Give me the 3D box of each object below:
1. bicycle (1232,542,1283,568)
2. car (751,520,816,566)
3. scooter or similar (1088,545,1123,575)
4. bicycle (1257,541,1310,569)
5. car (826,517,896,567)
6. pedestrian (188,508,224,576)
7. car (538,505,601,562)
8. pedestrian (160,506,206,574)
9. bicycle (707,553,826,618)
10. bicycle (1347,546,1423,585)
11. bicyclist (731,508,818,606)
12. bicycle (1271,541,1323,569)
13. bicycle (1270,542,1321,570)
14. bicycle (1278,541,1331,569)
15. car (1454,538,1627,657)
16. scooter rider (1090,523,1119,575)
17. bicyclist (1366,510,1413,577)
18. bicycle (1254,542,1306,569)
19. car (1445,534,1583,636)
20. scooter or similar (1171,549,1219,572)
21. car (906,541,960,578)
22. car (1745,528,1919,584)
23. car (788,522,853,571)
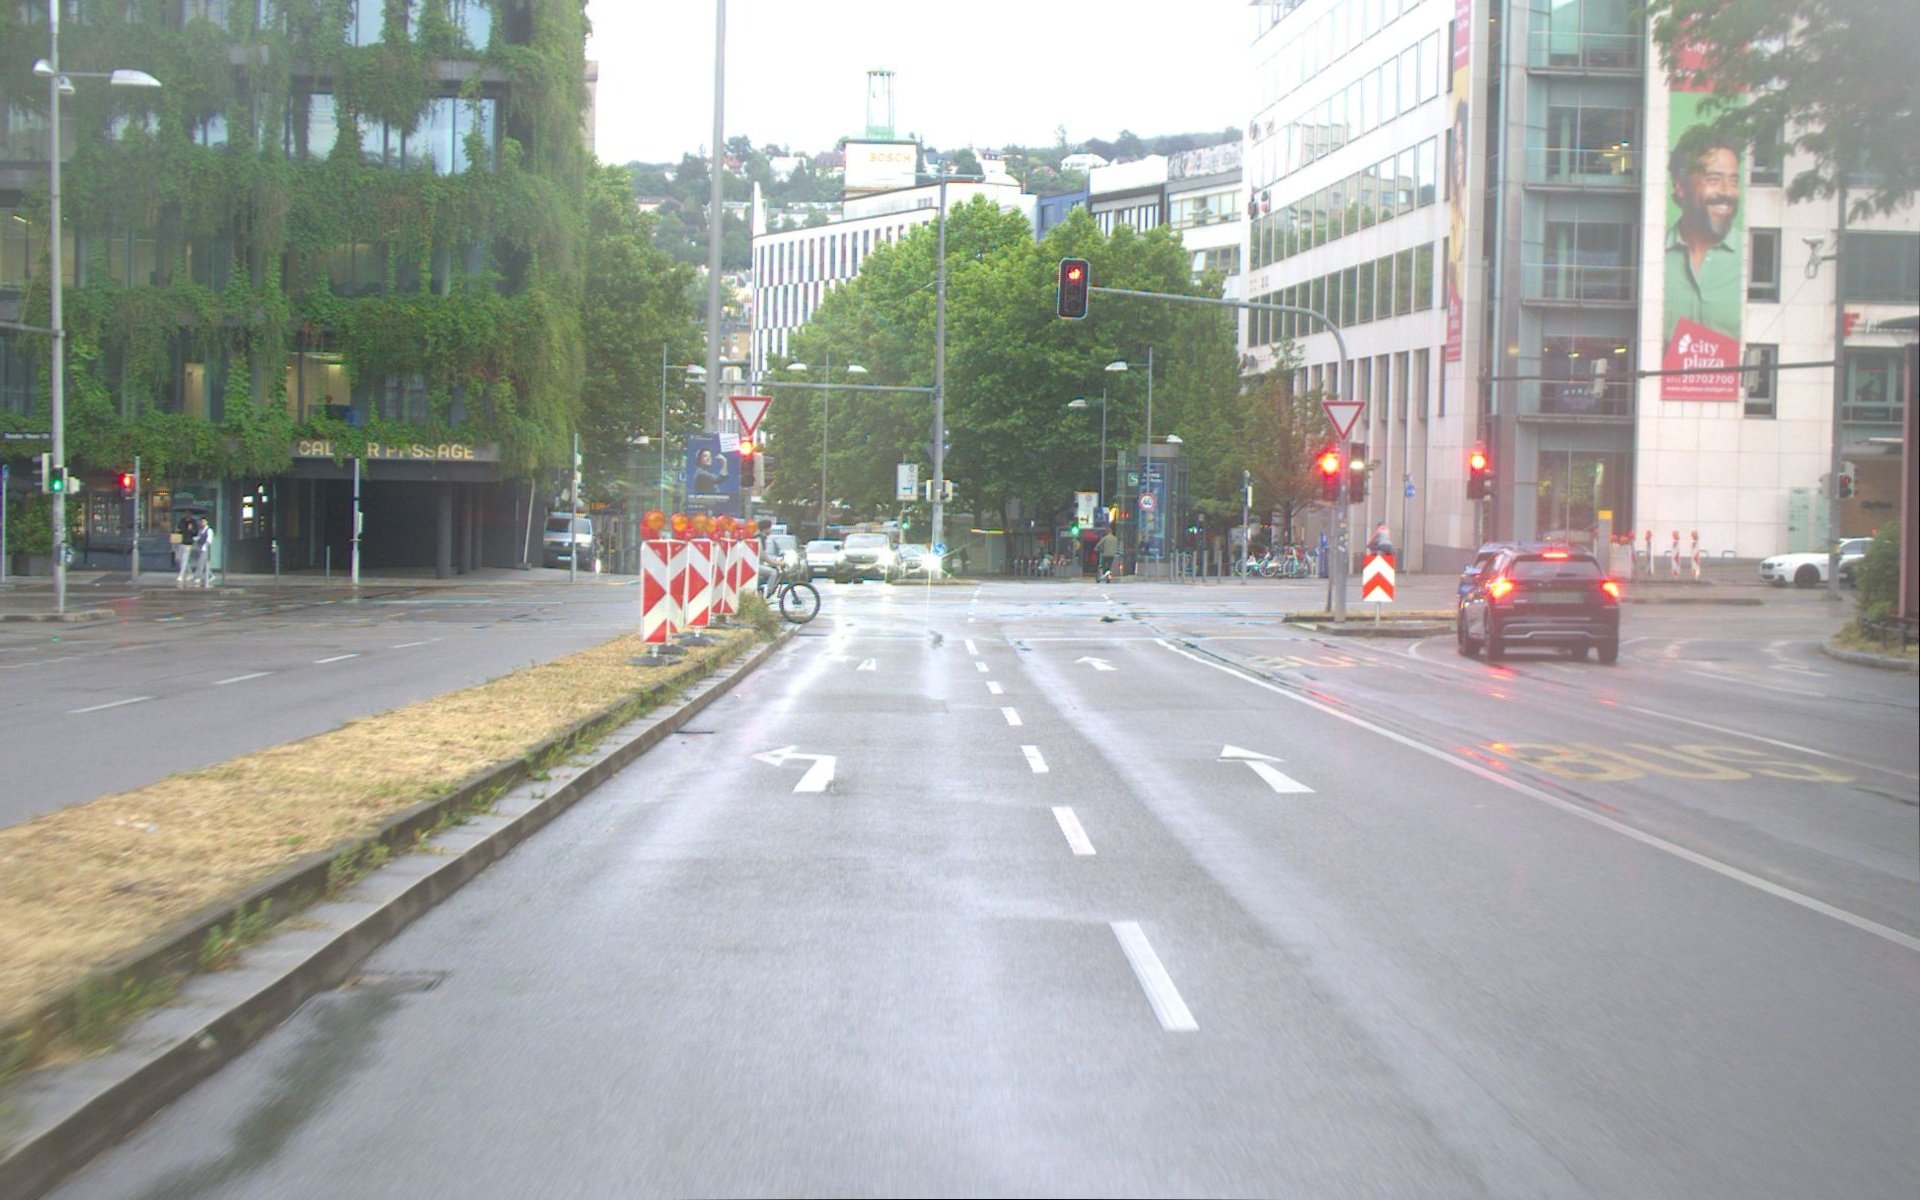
[{"bbox_3d":[10.601,-1.606,122.690,1.794,0.931,0.475,0,1,3],"label":"bicycle"},{"bbox_3d":[-5.898,-1.901,114.334,1.856,1.443,4.622,0,2,-7],"label":"car"},{"bbox_3d":[4.986,-1.384,118.146,0.556,1.003,1.824,0,1,-19],"label":"scooter or similar"},{"bbox_3d":[10.745,-1.495,114.160,1.799,0.931,0.474,1,2,41],"label":"bicycle"},{"bbox_3d":[-3.141,-1.838,108.297,1.993,1.545,4.556,0,1,-4],"label":"car"},{"bbox_3d":[-19.595,-1.505,89.313,0.741,1.752,0.976,0,1,-24],"label":"pedestrian"},{"bbox_3d":[-13.406,-2.292,118.292,1.993,1.888,4.466,0,1,-5],"label":"car"},{"bbox_3d":[-20.133,-1.555,89.074,0.935,1.752,1.172,0,1,-24],"label":"pedestrian"},{"bbox_3d":[-3.370,-0.272,60.040,0.847,1.099,2.148,1,2,39],"label":"bicycle"},{"bbox_3d":[12.451,-1.021,100.878,0.791,1.113,2.255,0,1,-41],"label":"bicycle"},{"bbox_3d":[-3.245,-0.761,60.152,0.847,1.698,1.296,1,1,40],"label":"bicyclist"},{"bbox_3d":[11.339,-1.520,115.767,1.799,0.931,0.474,1,2,41],"label":"bicycle"},{"bbox_3d":[11.369,-1.495,116.512,1.799,0.931,0.474,1,2,41],"label":"bicycle"},{"bbox_3d":[11.511,-1.505,114.801,1.799,0.931,0.474,1,2,41],"label":"bicycle"},{"bbox_3d":[7.893,-0.071,47.058,1.778,1.534,4.147,0,1,2],"label":"car"},{"bbox_3d":[4.979,-1.761,118.178,0.762,1.768,0.796,0,1,-18],"label":"scooter rider"},{"bbox_3d":[12.587,-1.658,100.725,0.791,1.968,1.114,0,1,-41],"label":"bicyclist"},{"bbox_3d":[11.249,-1.573,120.841,1.794,0.931,0.475,0,1,3],"label":"bicycle"},{"bbox_3d":[8.771,-0.266,54.166,1.704,1.524,4.424,1,1,15],"label":"car"},{"bbox_3d":[8.876,-1.480,129.728,1.745,0.875,0.489,0,1,-19],"label":"scooter or similar"},{"bbox_3d":[-1.156,-1.695,143.344,1.993,1.438,4.557,0,2,-4],"label":"car"},{"bbox_3d":[25.117,-1.273,99.081,4.449,1.592,2.001,0,1,-15],"label":"car"},{"bbox_3d":[-5.384,-2.081,132.336,2.174,1.817,4.645,0,1,-6],"label":"car"}]
